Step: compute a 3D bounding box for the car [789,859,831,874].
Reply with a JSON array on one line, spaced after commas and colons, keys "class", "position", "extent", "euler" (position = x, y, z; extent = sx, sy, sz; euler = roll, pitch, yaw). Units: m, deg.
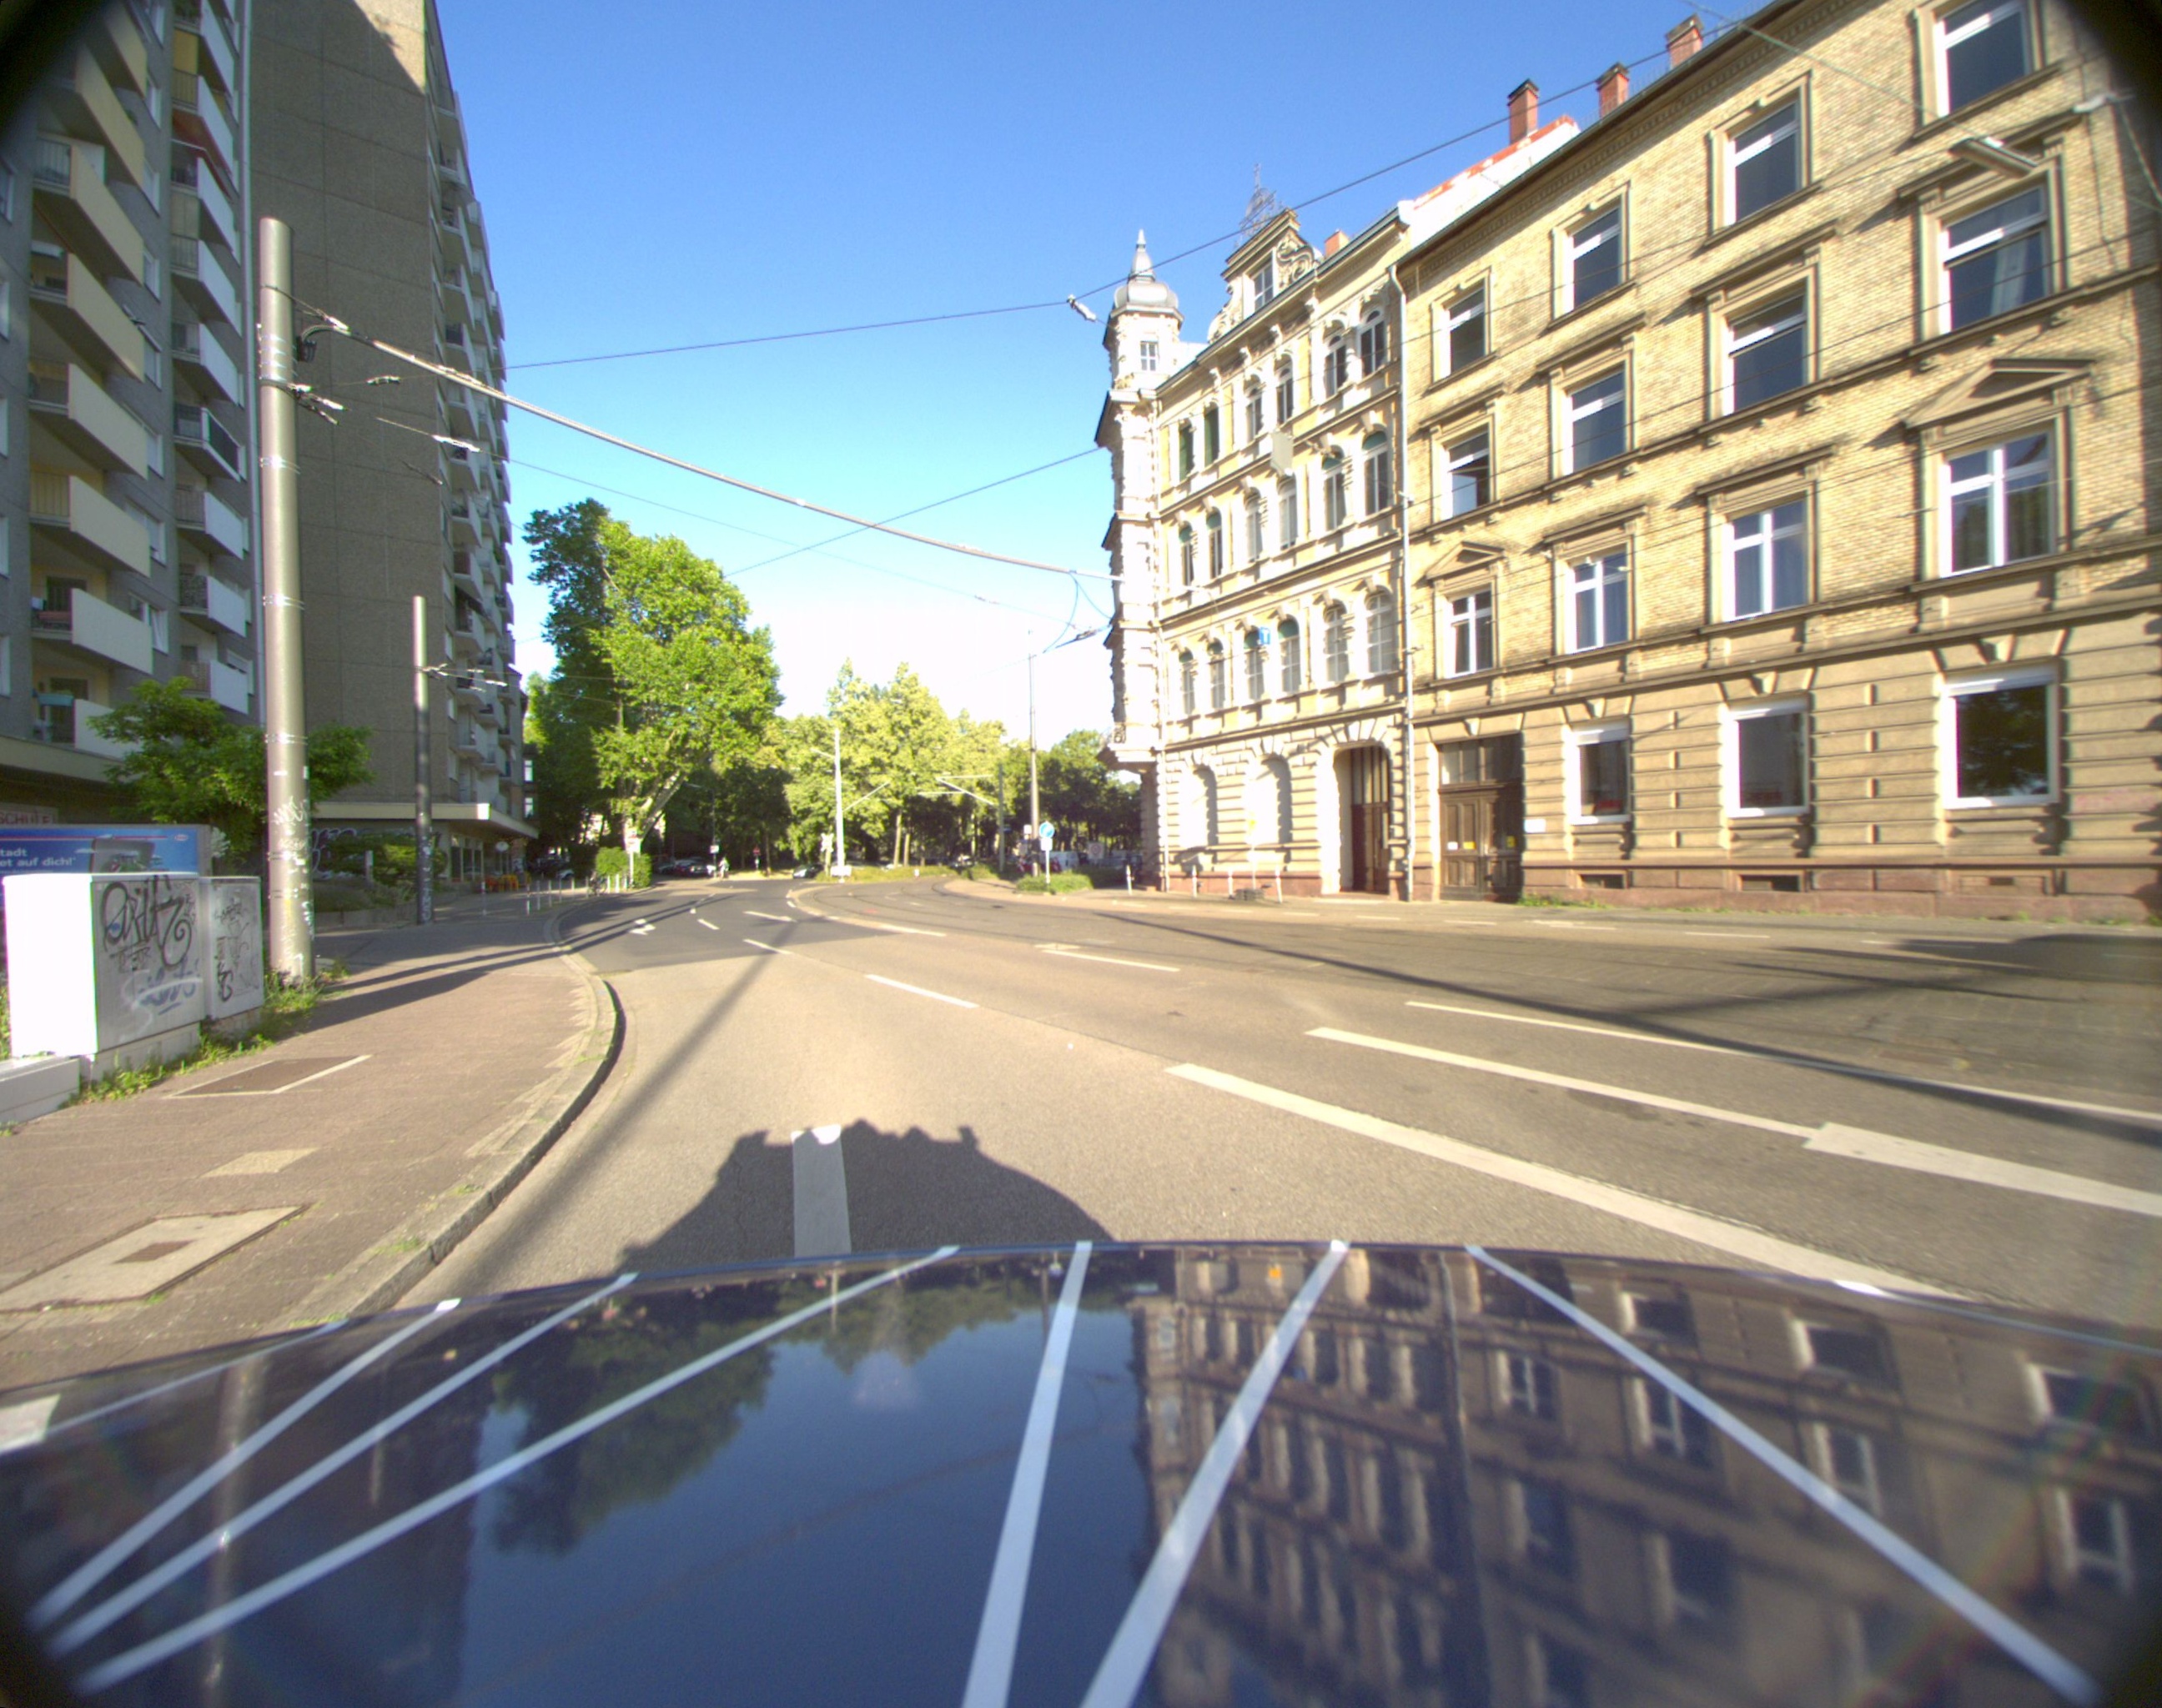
[{"class": "car", "position": [-26.486, 1.184, 74.411], "extent": [1.947, 1.390, 4.004], "euler": [-1, 0, 15]}]

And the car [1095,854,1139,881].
[{"class": "car", "position": [2.074, 0.737, 42.890], "extent": [1.734, 1.406, 3.438], "euler": [-1, 0, 16]}]

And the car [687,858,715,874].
[{"class": "car", "position": [-37.294, 1.154, 74.508], "extent": [1.744, 1.440, 3.621], "euler": [-1, 0, -39]}]

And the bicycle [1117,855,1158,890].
[{"class": "bicycle", "position": [2.228, 0.702, 29.624], "extent": [0.644, 1.258, 2.693], "euler": [-1, 0, 25]}]

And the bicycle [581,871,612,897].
[{"class": "bicycle", "position": [-22.212, 1.356, 34.861], "extent": [0.611, 1.128, 2.277], "euler": [-1, 0, -18]}]

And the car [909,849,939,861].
[{"class": "car", "position": [-24.871, 0.170, 120.613], "extent": [4.346, 1.696, 2.003], "euler": [-1, 0, 27]}]

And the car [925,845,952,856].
[{"class": "car", "position": [-23.638, -0.625, 125.757], "extent": [3.990, 1.740, 1.888], "euler": [-1, 0, 26]}]

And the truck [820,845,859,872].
[{"class": "truck", "position": [-25.296, 0.439, 79.802], "extent": [1.997, 2.767, 4.887], "euler": [-1, 0, 8]}]

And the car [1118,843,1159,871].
[{"class": "car", "position": [3.643, 0.175, 47.429], "extent": [1.734, 1.652, 4.005], "euler": [-1, 0, 16]}]

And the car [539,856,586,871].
[{"class": "car", "position": [-56.764, 1.051, 83.161], "extent": [4.008, 1.499, 1.881], "euler": [-1, 0, -41]}]

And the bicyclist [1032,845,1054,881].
[{"class": "bicyclist", "position": [-1.961, 0.466, 39.501], "extent": [0.728, 1.829, 1.214], "euler": [-1, 0, 18]}]

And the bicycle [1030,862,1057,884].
[{"class": "bicycle", "position": [-1.947, 0.955, 39.508], "extent": [0.727, 1.077, 2.119], "euler": [-1, 0, 17]}]

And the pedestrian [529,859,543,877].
[{"class": "pedestrian", "position": [-62.586, 1.625, 87.265], "extent": [1.216, 2.002, 1.203], "euler": [-2, 1, -40]}]

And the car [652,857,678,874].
[{"class": "car", "position": [-48.993, 1.344, 89.481], "extent": [1.775, 1.846, 4.217], "euler": [-2, 1, -42]}]

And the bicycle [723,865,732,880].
[{"class": "bicycle", "position": [-28.151, 1.449, 60.480], "extent": [0.612, 1.168, 1.948], "euler": [-1, 0, -26]}]

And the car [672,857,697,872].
[{"class": "car", "position": [-40.968, 1.066, 78.434], "extent": [1.538, 1.440, 3.916], "euler": [-2, 0, -39]}]

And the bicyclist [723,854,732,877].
[{"class": "bicyclist", "position": [-28.155, 0.897, 60.458], "extent": [0.608, 1.752, 1.058], "euler": [-1, 1, -26]}]

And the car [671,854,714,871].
[{"class": "car", "position": [-42.538, 0.930, 83.282], "extent": [3.934, 1.751, 1.531], "euler": [-1, 1, -42]}]

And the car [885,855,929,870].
[{"class": "car", "position": [-16.417, 0.839, 71.529], "extent": [3.679, 1.346, 1.744], "euler": [-1, 0, 23]}]

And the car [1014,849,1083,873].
[{"class": "car", "position": [-2.554, 0.557, 59.498], "extent": [5.046, 1.777, 2.004], "euler": [-1, 0, 28]}]

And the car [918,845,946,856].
[{"class": "car", "position": [-24.136, -0.510, 123.063], "extent": [3.990, 1.740, 1.888], "euler": [-1, 0, 26]}]

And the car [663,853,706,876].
[{"class": "car", "position": [-44.319, 1.160, 84.934], "extent": [3.934, 2.392, 1.531], "euler": [-1, 1, -42]}]

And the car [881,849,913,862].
[{"class": "car", "position": [-26.931, 0.201, 111.139], "extent": [4.431, 1.740, 2.004], "euler": [-1, 0, 34]}]

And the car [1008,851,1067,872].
[{"class": "car", "position": [-3.270, 0.553, 57.291], "extent": [3.989, 1.499, 1.872], "euler": [-1, 0, 28]}]

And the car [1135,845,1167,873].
[{"class": "car", "position": [5.397, 0.368, 58.051], "extent": [1.997, 2.002, 4.639], "euler": [-1, 0, 11]}]

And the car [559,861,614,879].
[{"class": "car", "position": [-45.429, 1.476, 69.819], "extent": [4.008, 1.499, 1.881], "euler": [-1, 0, -41]}]
